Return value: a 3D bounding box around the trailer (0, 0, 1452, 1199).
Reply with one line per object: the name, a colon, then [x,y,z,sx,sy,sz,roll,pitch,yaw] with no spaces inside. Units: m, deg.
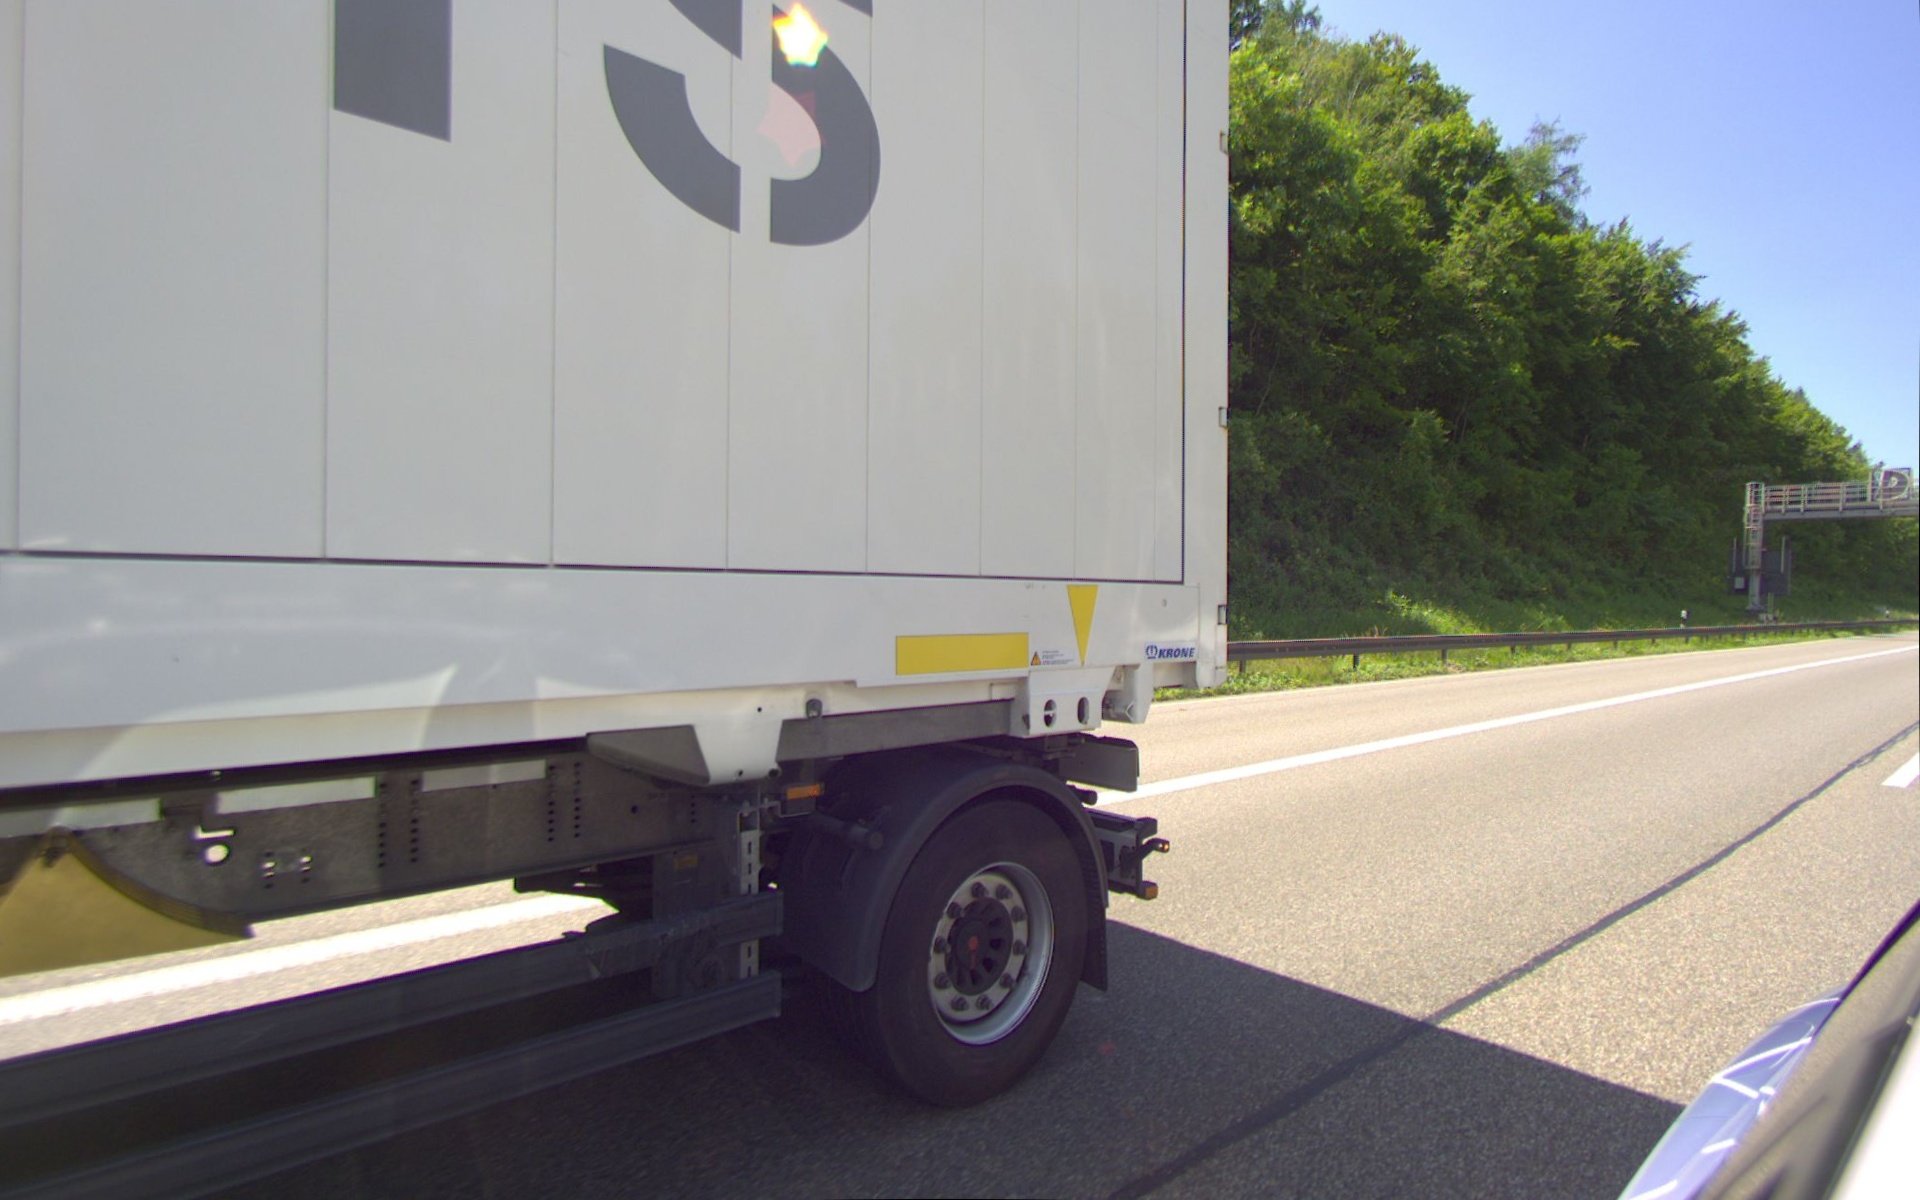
trailer: [-2.291,-0.687,2.456,9.889,4.229,2.684,0,0,-41]
